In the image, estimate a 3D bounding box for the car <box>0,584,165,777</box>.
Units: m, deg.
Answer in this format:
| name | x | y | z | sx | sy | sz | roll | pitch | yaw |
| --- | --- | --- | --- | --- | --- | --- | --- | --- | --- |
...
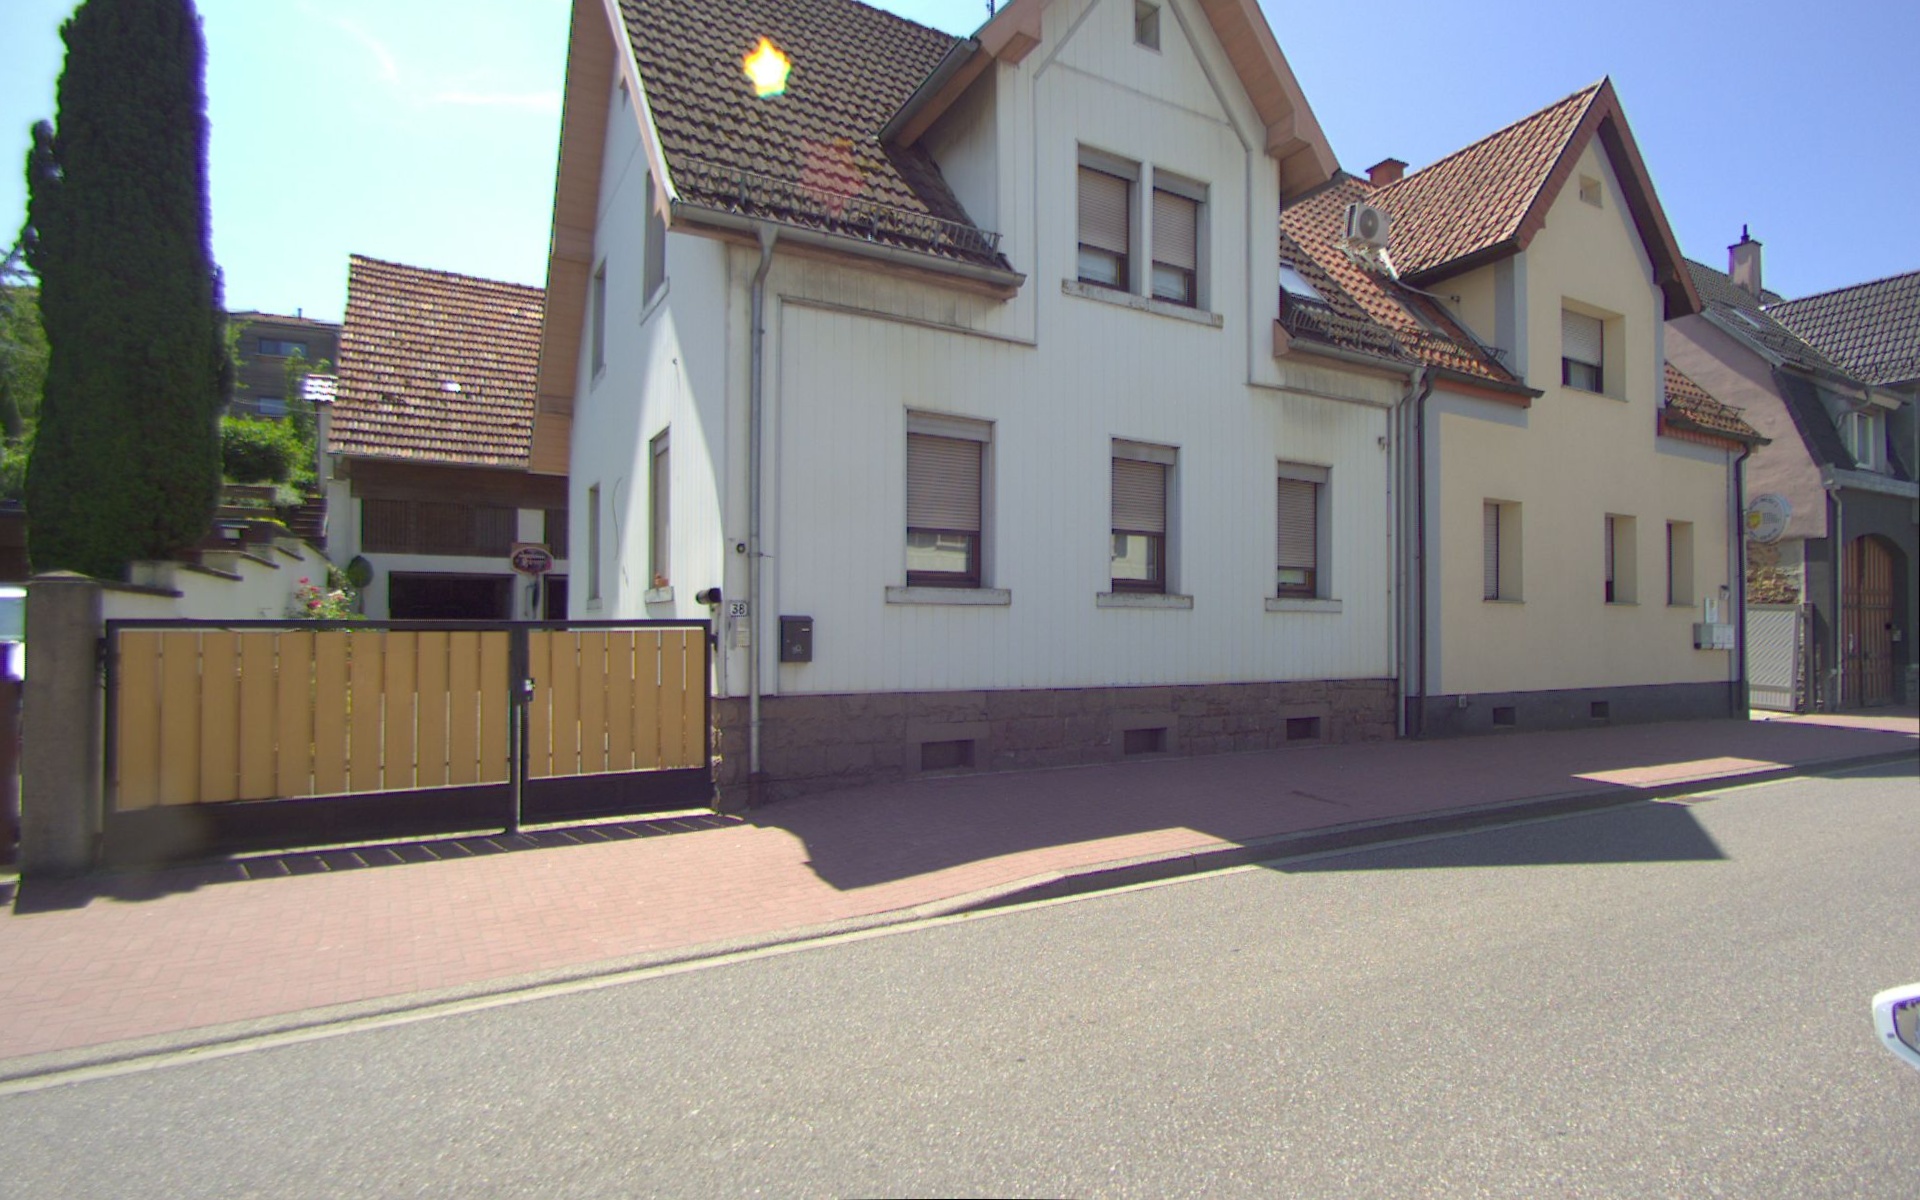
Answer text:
| name | x | y | z | sx | sy | sz | roll | pitch | yaw |
| --- | --- | --- | --- | --- | --- | --- | --- | --- | --- |
| car | -9.550 | 0.714 | 10.165 | 1.658 | 1.641 | 4.154 | 1 | -1 | -29 |
